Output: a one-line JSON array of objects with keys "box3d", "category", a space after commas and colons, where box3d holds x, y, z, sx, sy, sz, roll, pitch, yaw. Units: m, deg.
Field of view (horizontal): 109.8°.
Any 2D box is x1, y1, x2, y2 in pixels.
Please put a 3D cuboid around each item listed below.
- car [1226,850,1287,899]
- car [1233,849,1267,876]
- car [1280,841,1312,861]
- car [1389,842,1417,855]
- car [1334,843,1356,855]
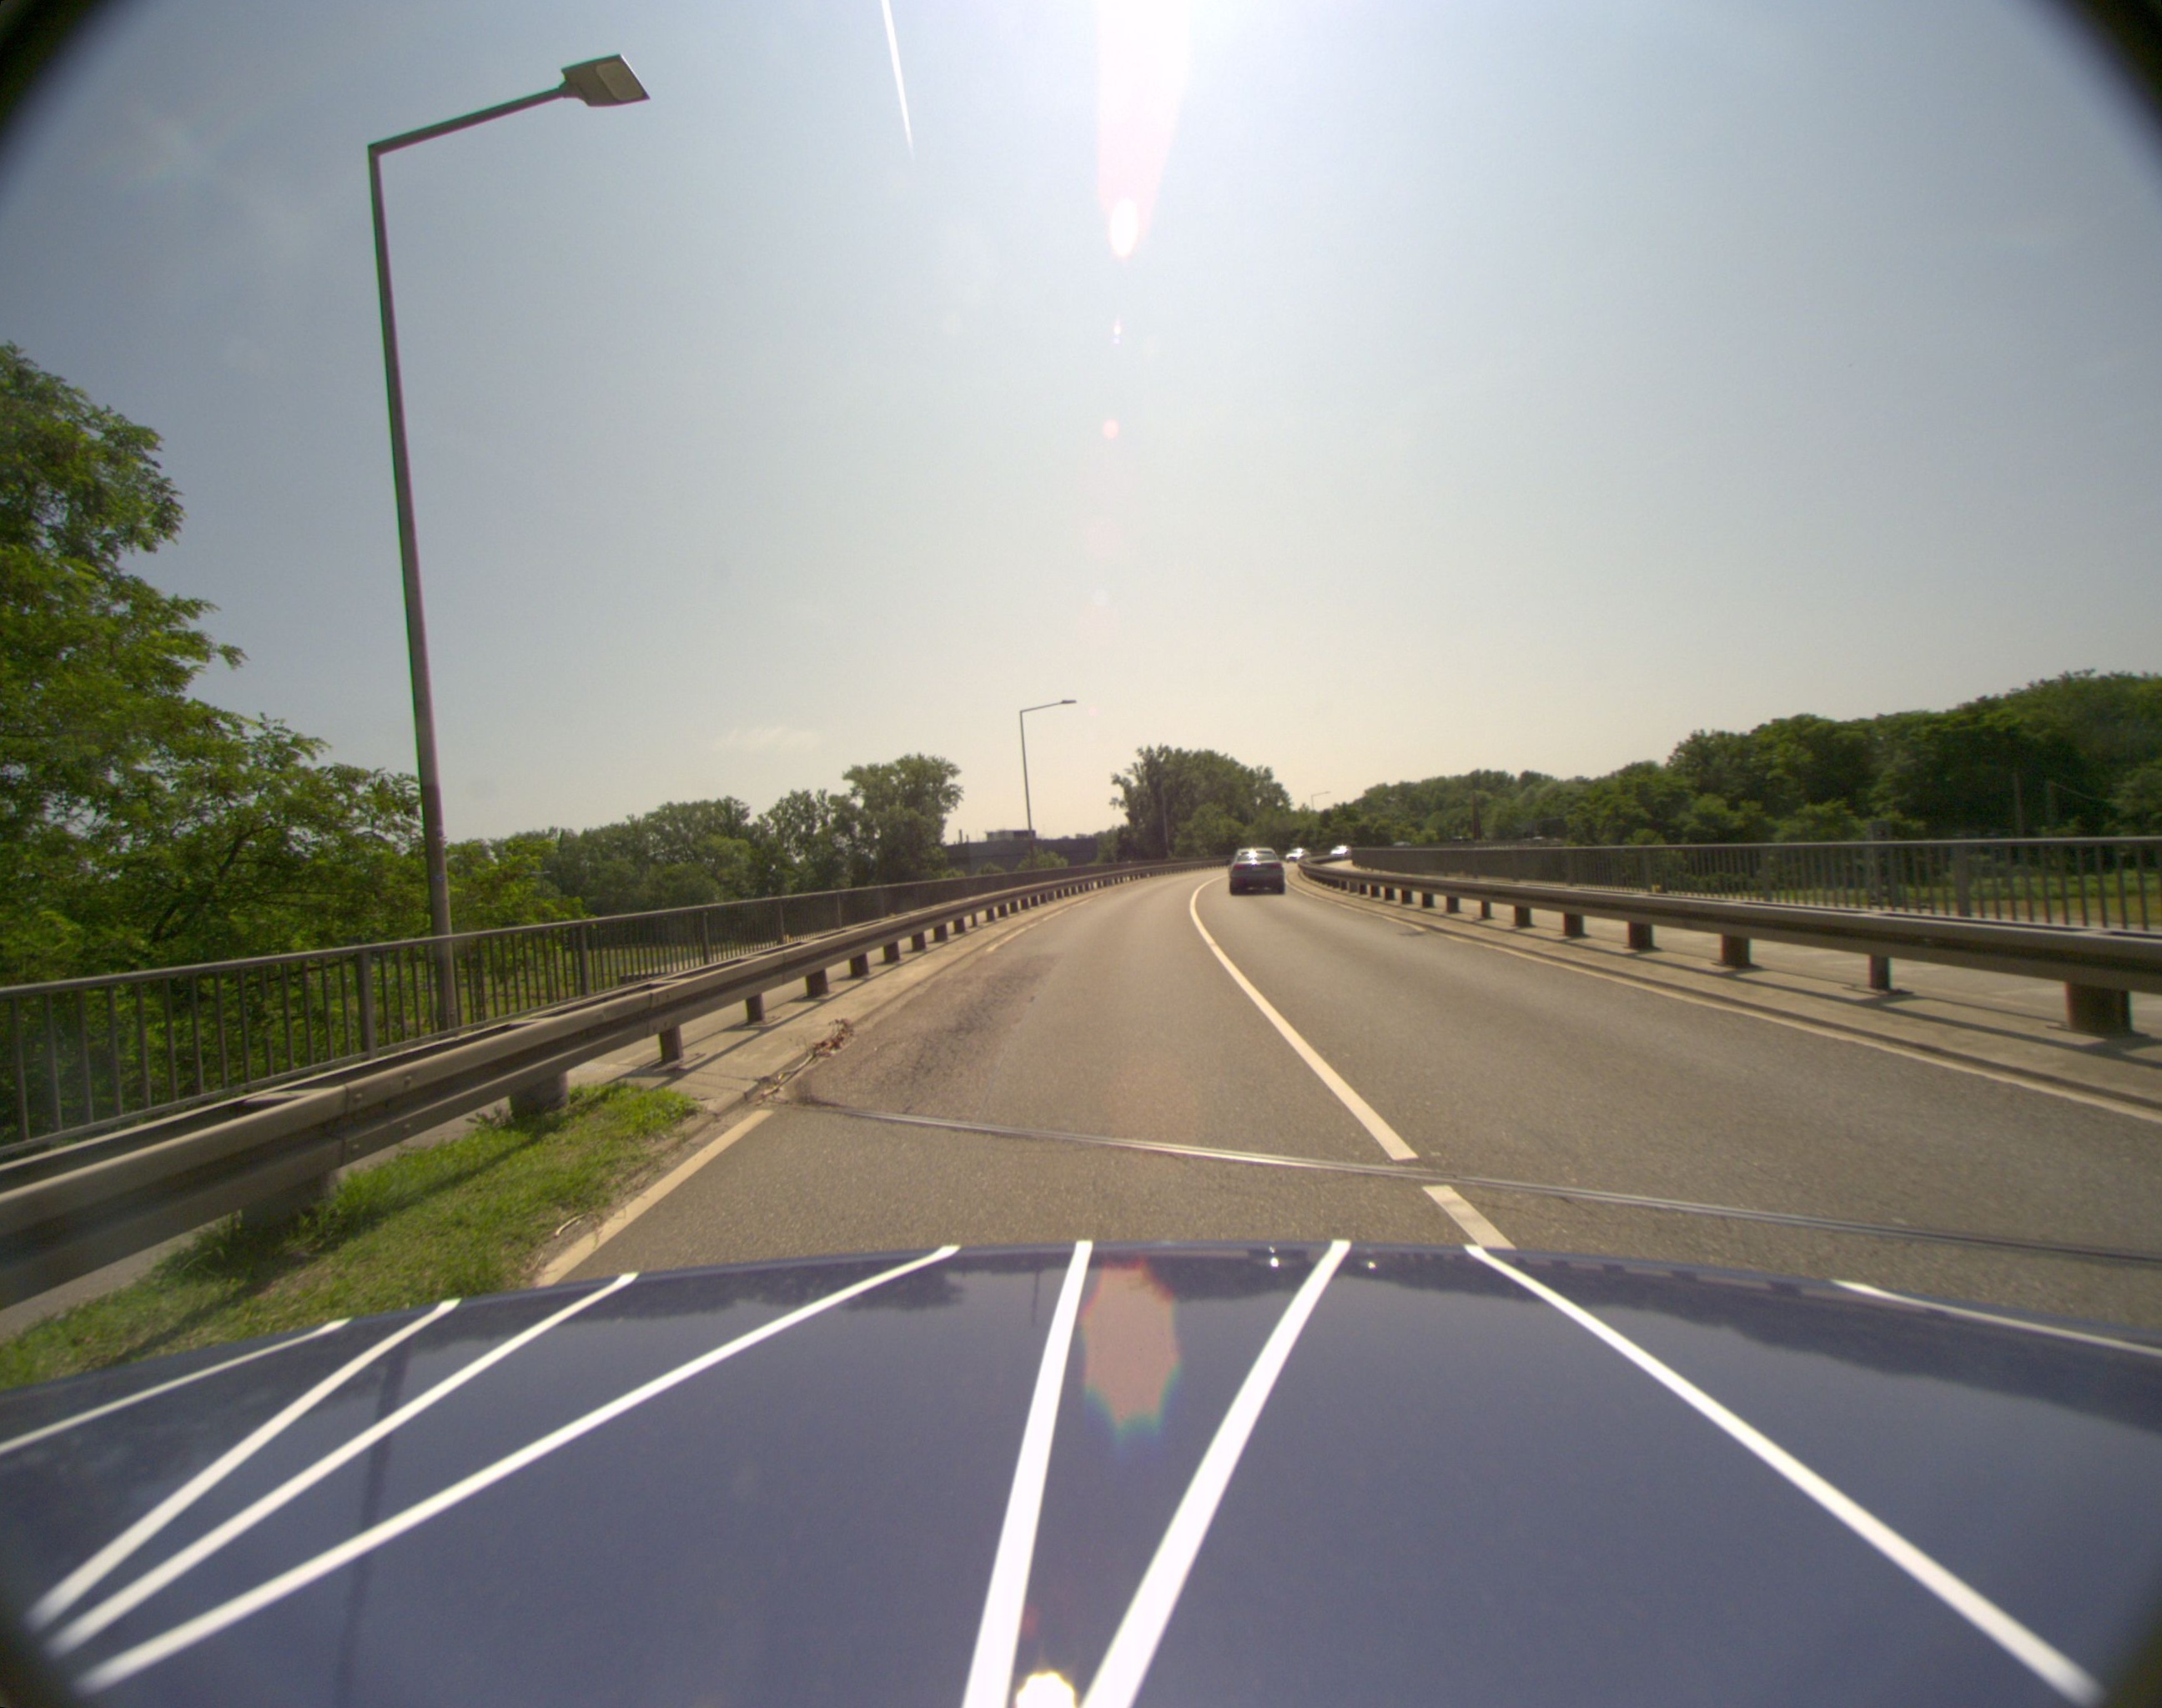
[{"box3d": [6.181, 0.702, 27.115, 1.826, 1.528, 4.198, -3, -1, 10], "category": "car"}, {"box3d": [10.141, 0.515, 45.519, 1.599, 1.477, 2.751, -3, -1, 18], "category": "car"}, {"box3d": [22.740, -0.334, 80.226, 1.995, 2.001, 4.008, -4, -1, 33], "category": "car"}, {"box3d": [43.731, -0.747, 103.171, 4.495, 1.586, 1.894, -2, -1, -44], "category": "car"}, {"box3d": [32.643, -0.647, 93.953, 1.543, 1.346, 3.585, -4, -1, 36], "category": "car"}]
